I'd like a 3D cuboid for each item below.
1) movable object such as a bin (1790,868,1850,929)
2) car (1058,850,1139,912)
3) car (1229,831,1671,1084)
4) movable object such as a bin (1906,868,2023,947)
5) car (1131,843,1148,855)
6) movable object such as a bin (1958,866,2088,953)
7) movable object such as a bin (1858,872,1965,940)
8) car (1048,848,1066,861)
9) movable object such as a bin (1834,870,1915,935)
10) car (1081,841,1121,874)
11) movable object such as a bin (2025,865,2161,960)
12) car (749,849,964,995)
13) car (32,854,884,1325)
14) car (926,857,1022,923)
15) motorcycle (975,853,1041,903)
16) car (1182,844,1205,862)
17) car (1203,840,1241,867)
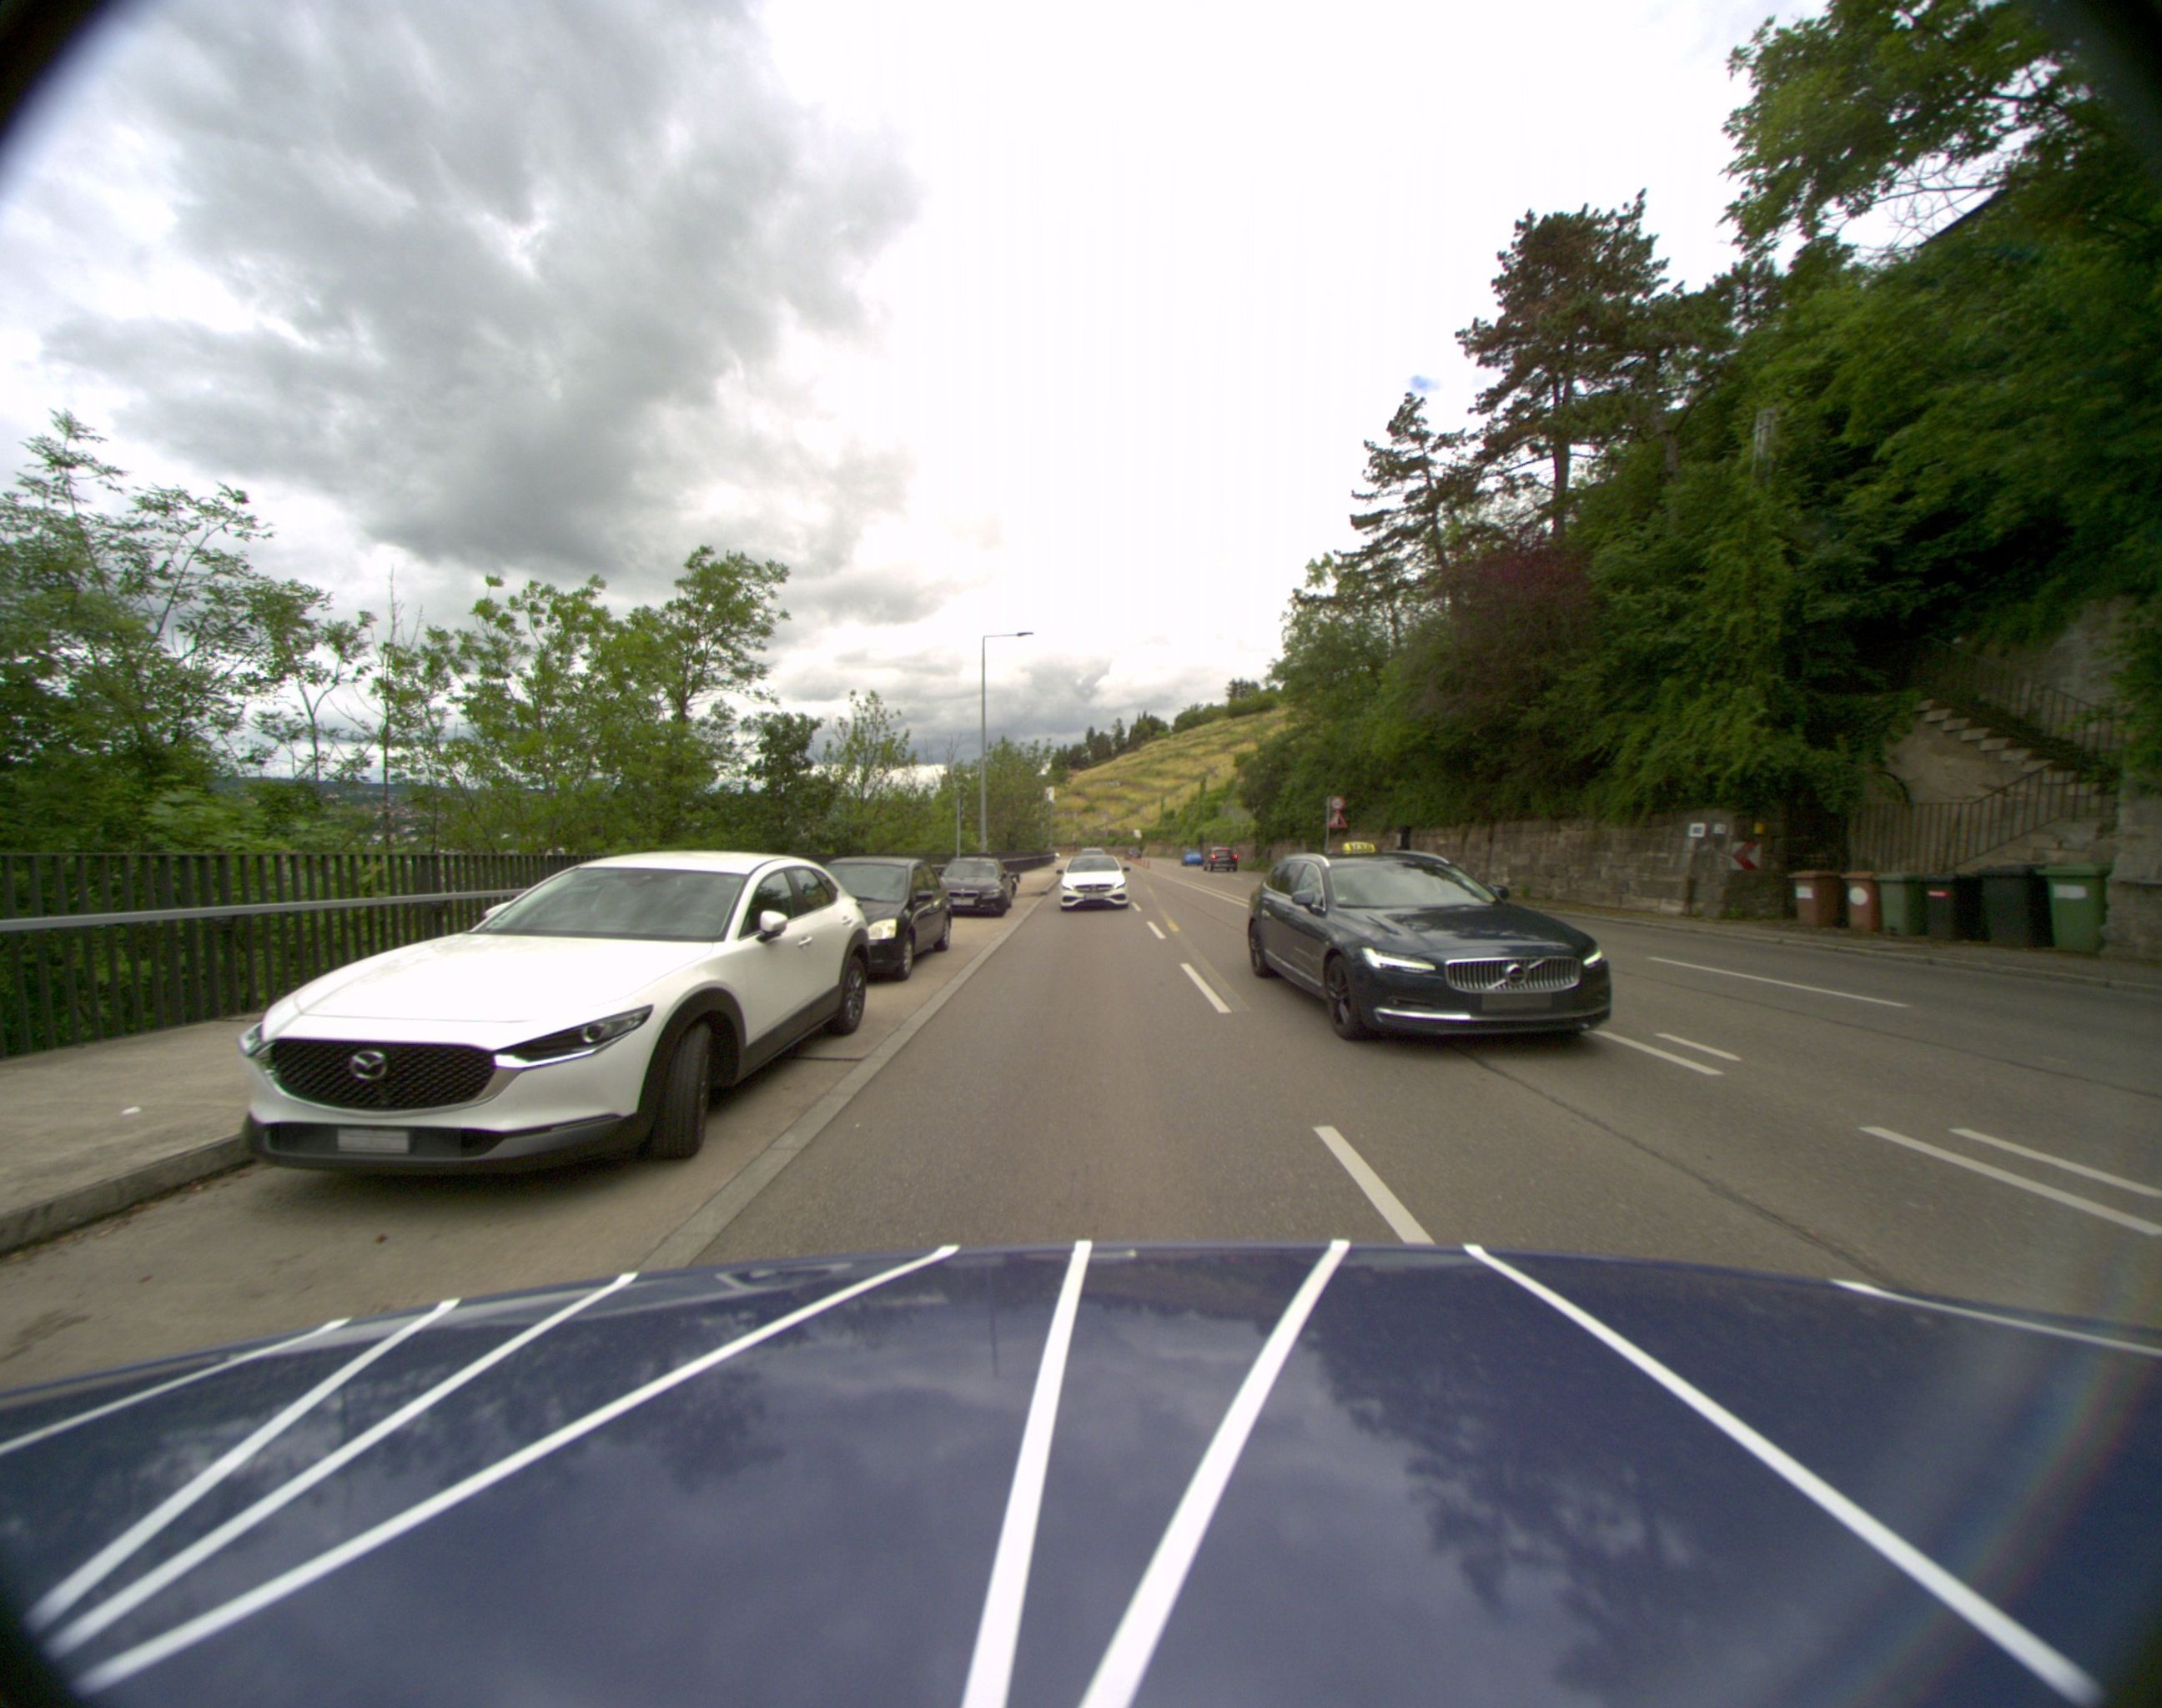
[{"bbox_3d":[12.028,0.714,12.375,0.518,0.960,0.474,-1,1,-3],"label":"movable object such as a bin"},{"bbox_3d":[0.509,0.672,20.313,1.903,1.418,4.266,-2,-1,2],"label":"car"},{"bbox_3d":[2.864,0.638,7.405,1.939,1.567,5.026,-2,1,1],"label":"car"},{"bbox_3d":[12.148,0.720,10.468,0.901,1.028,0.621,-1,1,-3],"label":"movable object such as a bin"},{"bbox_3d":[7.791,-0.667,101.241,1.861,1.437,4.294,-1,1,-1],"label":"car"},{"bbox_3d":[12.037,0.690,9.730,0.774,1.055,0.718,-1,1,-3],"label":"movable object such as a bin"},{"bbox_3d":[12.128,0.743,11.113,0.919,0.940,0.593,-1,1,-2],"label":"movable object such as a bin"},{"bbox_3d":[-3.979,0.069,126.336,2.001,2.002,3.993,-1,1,-18],"label":"car"},{"bbox_3d":[12.239,0.739,11.732,0.675,0.960,0.543,-1,1,-3],"label":"movable object such as a bin"},{"bbox_3d":[1.059,0.127,40.374,1.998,1.580,3.999,-2,1,1],"label":"car"},{"bbox_3d":[12.000,0.669,8.992,0.789,1.065,0.708,-1,0,-3],"label":"movable object such as a bin"},{"bbox_3d":[-2.851,0.747,10.650,1.663,1.563,4.255,2,1,1],"label":"car"},{"bbox_3d":[-2.780,0.834,4.981,1.731,1.559,4.623,1,1,1],"label":"car"},{"bbox_3d":[-2.619,0.831,19.551,1.828,1.393,4.318,2,1,0],"label":"car"},{"bbox_3d":[-2.311,0.723,24.335,0.770,1.459,2.509,-1,1,29],"label":"motorcycle"},{"bbox_3d":[9.903,-0.129,67.302,1.587,1.453,3.523,-2,1,2],"label":"car"},{"bbox_3d":[9.583,-0.060,51.874,1.820,1.688,4.469,-1,1,1],"label":"car"}]
